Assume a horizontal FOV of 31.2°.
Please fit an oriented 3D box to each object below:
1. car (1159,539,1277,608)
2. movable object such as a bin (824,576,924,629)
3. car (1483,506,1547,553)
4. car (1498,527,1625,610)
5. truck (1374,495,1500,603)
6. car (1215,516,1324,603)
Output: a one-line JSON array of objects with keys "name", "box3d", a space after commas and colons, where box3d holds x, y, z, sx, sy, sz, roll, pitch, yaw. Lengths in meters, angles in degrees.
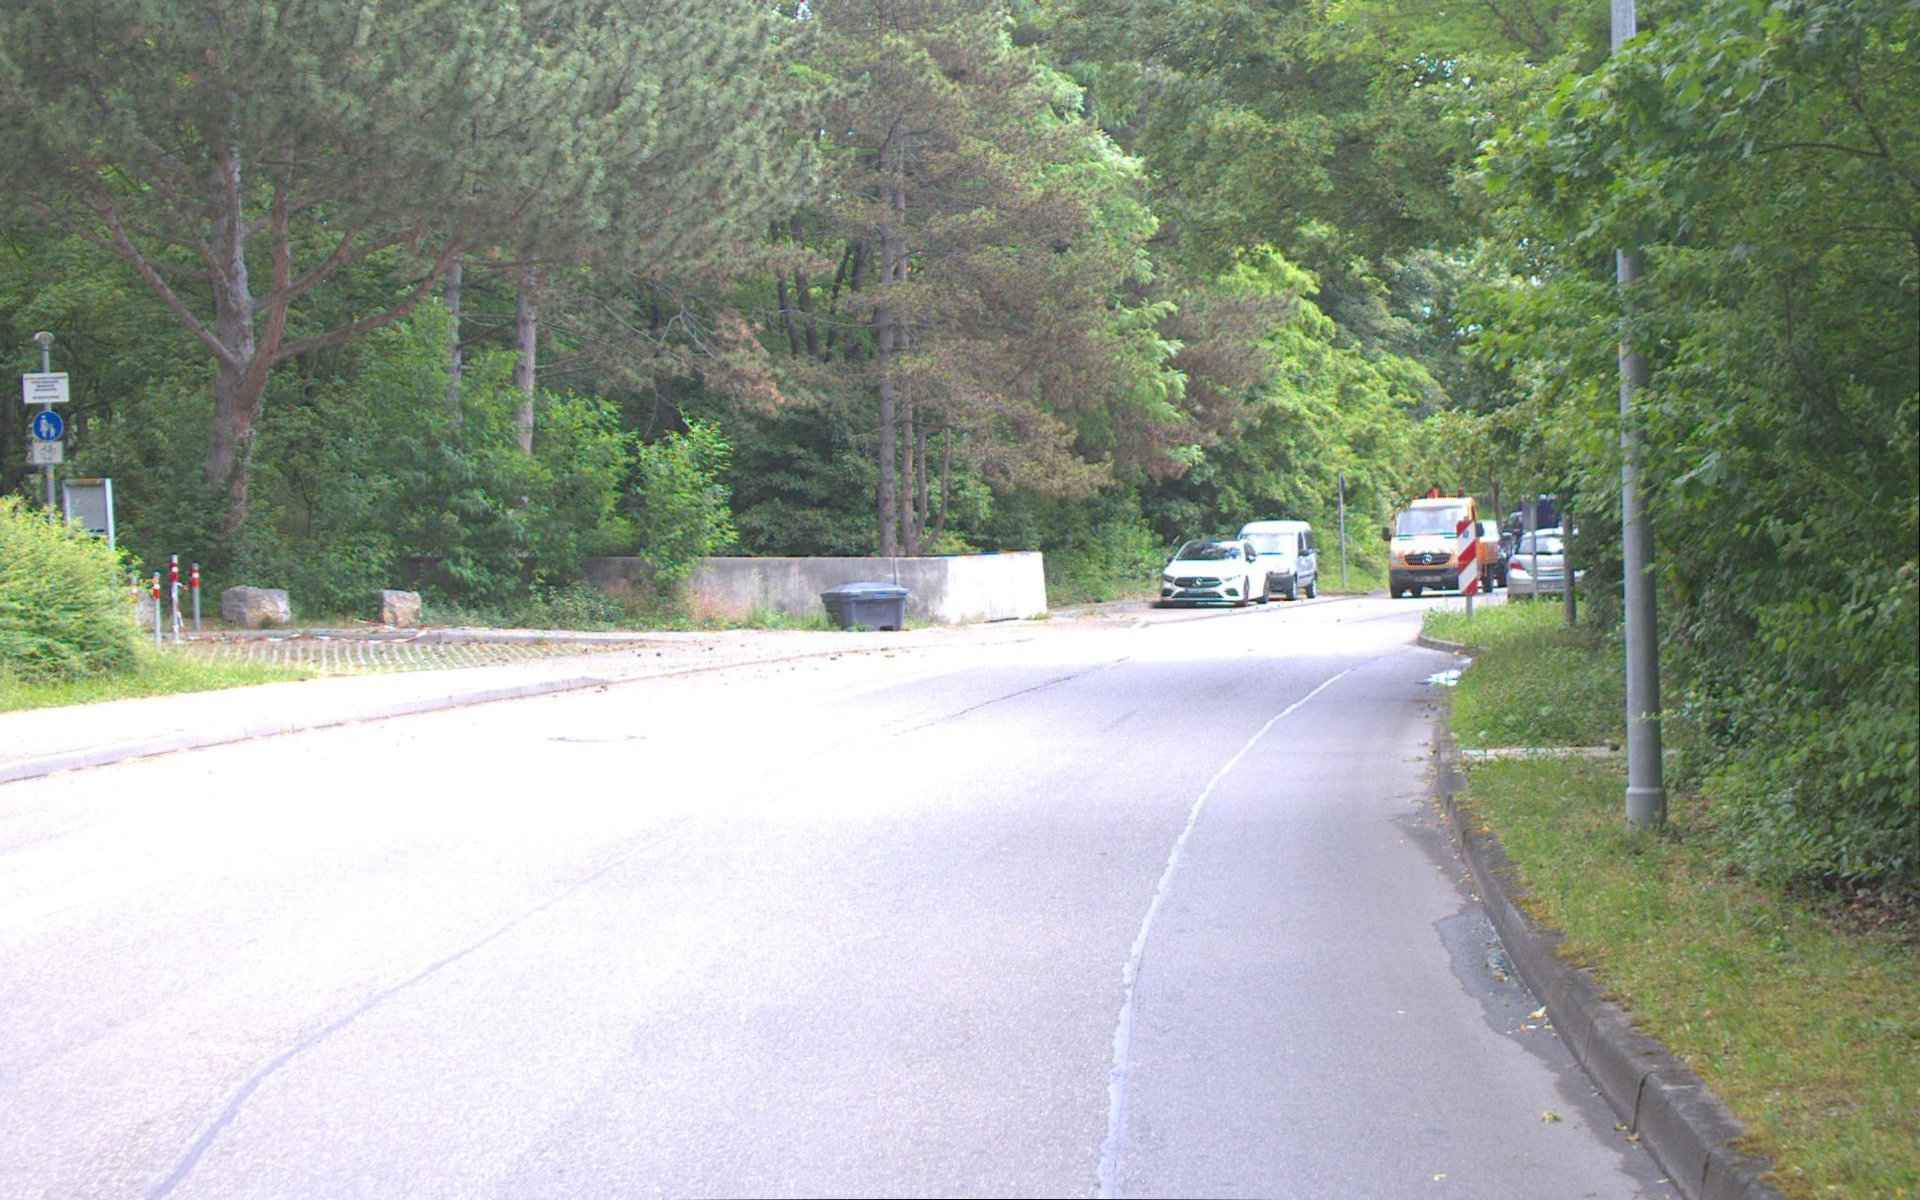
[{"name": "car", "box3d": [5.510, -0.592, 72.995, 1.807, 1.398, 4.369, 0, 1, 14]}, {"name": "movable object such as a bin", "box3d": [-1.249, 0.032, 49.981, 1.143, 0.758, 1.049, 1, 0, -23]}, {"name": "car", "box3d": [27.147, -3.462, 168.362, 1.993, 2.019, 4.001, -5, 3, -6]}, {"name": "car", "box3d": [10.953, -0.586, 62.417, 1.794, 1.406, 4.056, -2, 1, 16]}, {"name": "truck", "box3d": [11.314, -1.247, 81.246, 2.324, 2.461, 6.017, 1, 2, 14]}, {"name": "car", "box3d": [7.190, -0.967, 79.594, 1.722, 1.915, 4.102, 1, 2, 16]}]
